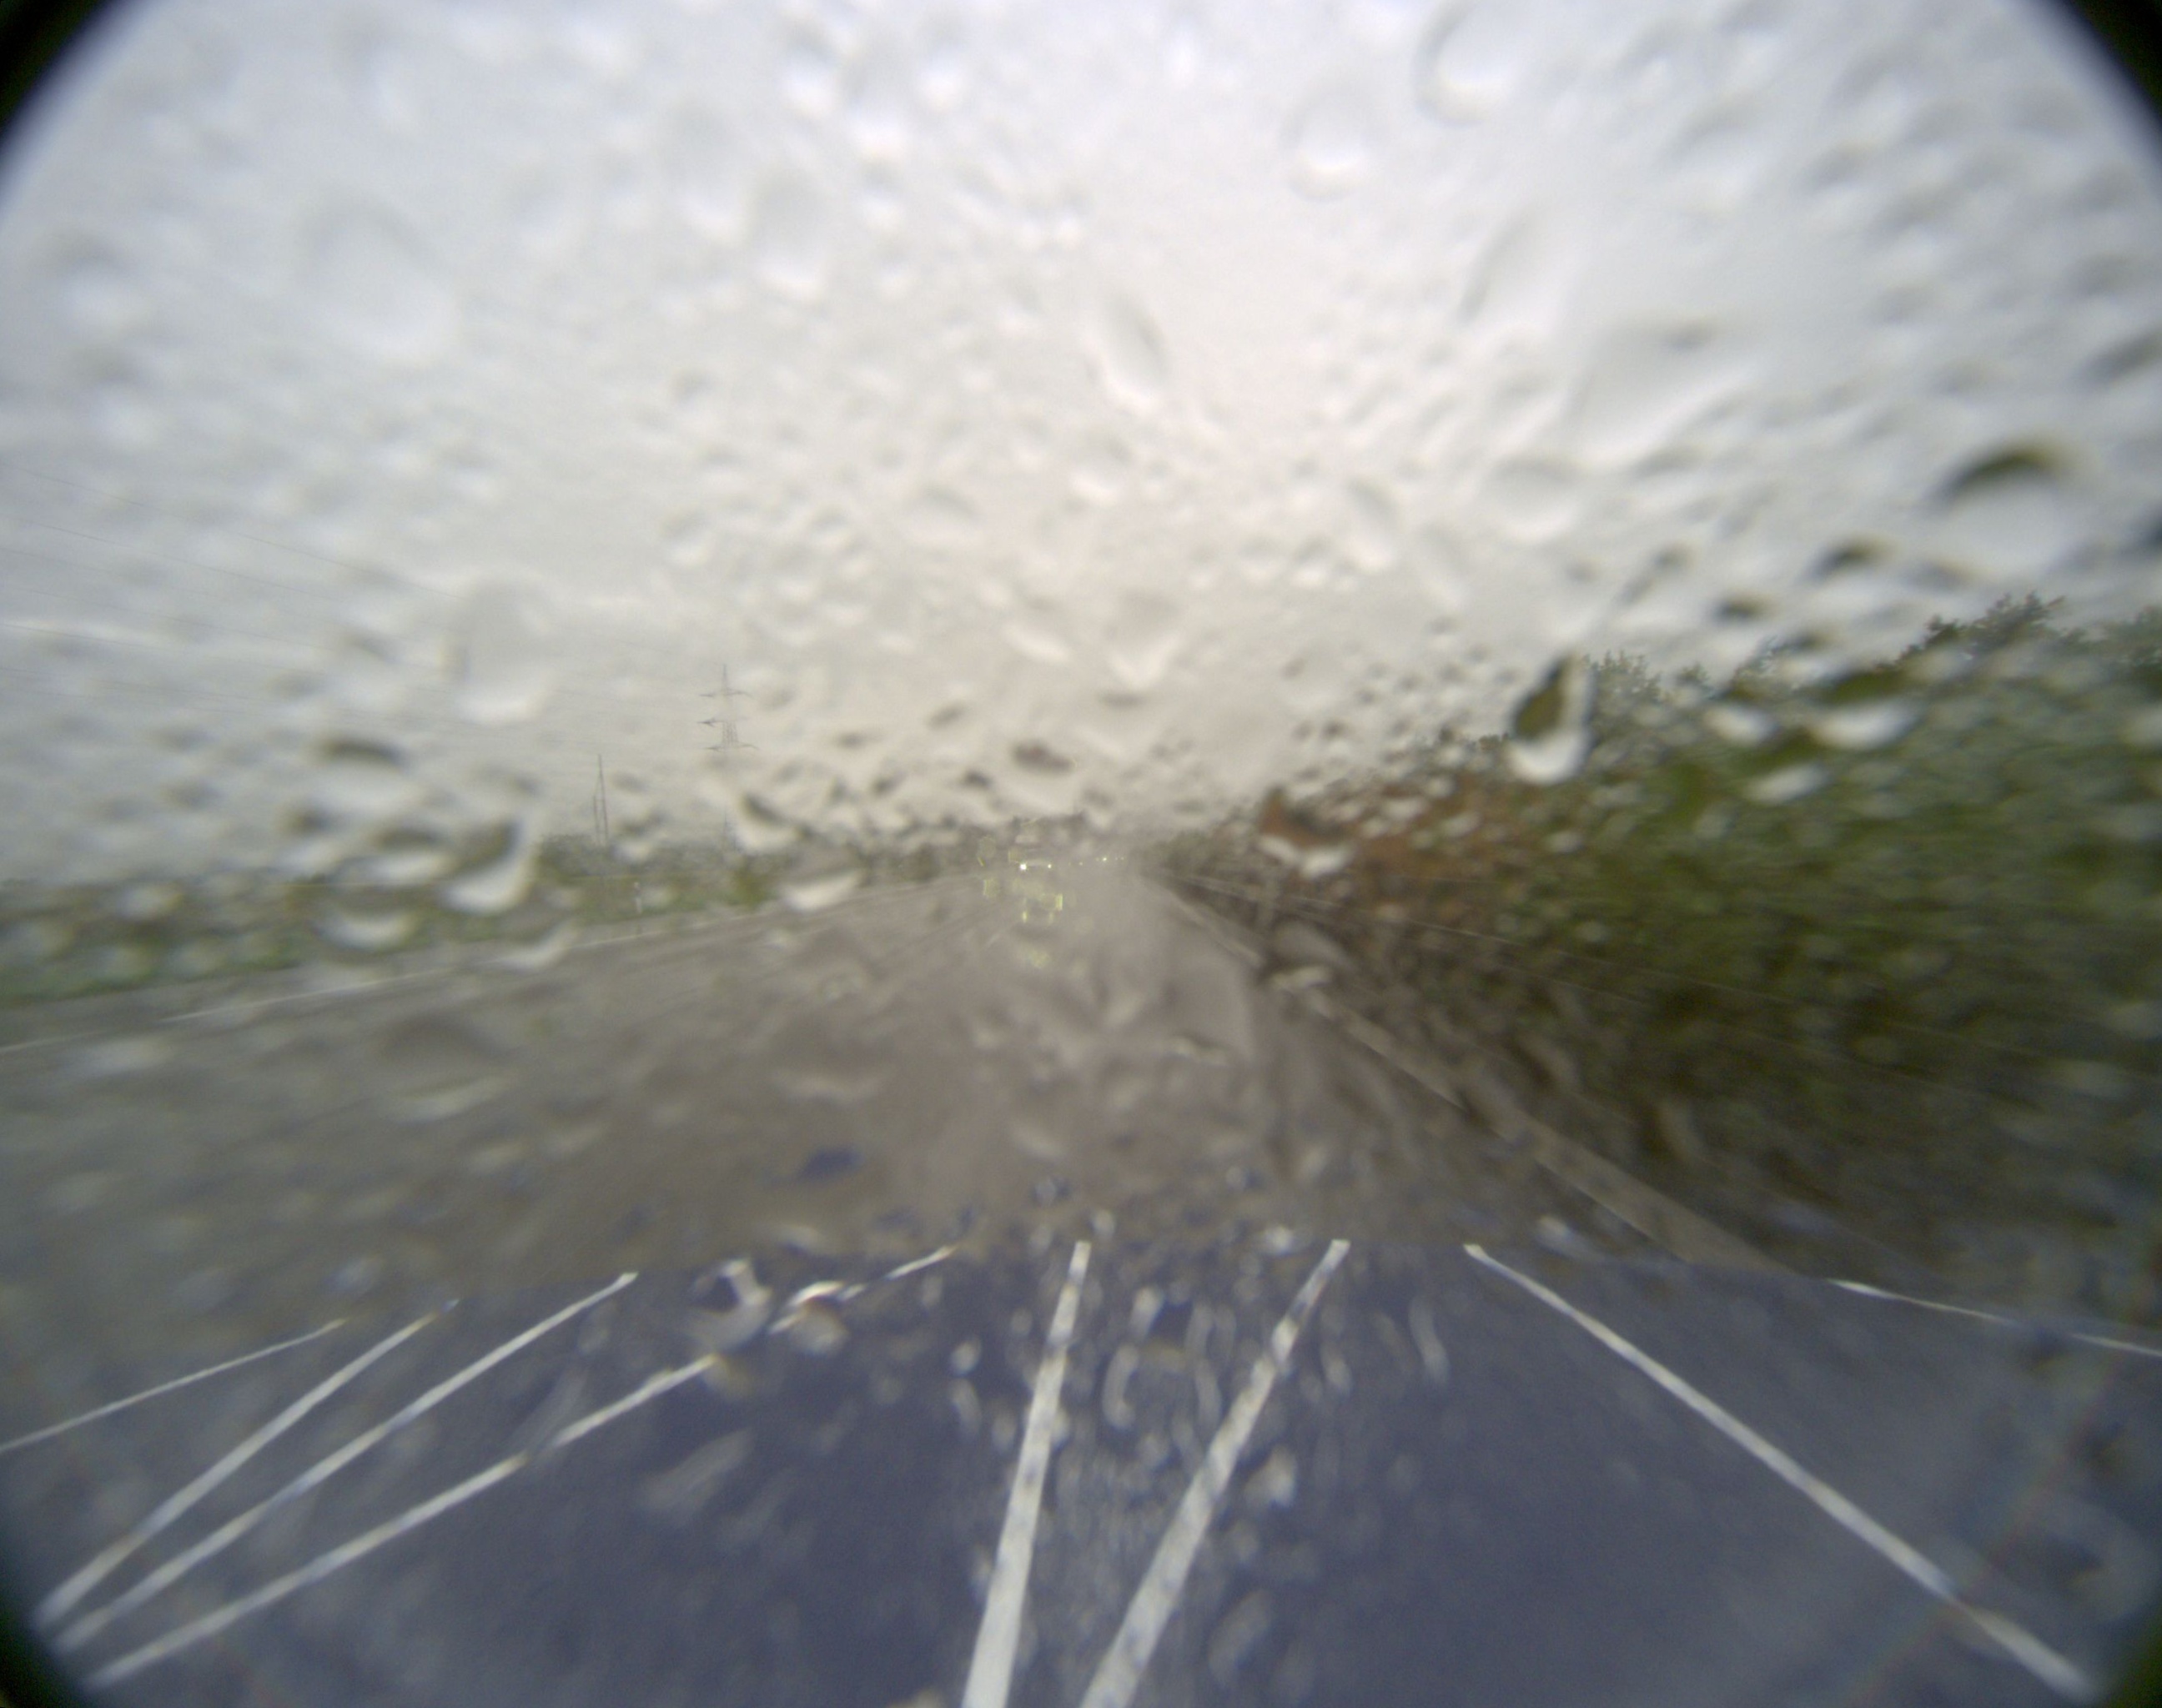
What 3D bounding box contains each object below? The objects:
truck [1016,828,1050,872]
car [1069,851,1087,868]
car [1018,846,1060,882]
[{"bbox_3d":[-5.423,-0.459,88.253,3.136,4.642,11.402,-2,1,0],"label":"truck"},{"bbox_3d":[-0.352,0.650,95.765,1.998,2.002,4.001,-2,1,5],"label":"car"},{"bbox_3d":[-2.457,0.560,45.540,1.998,2.002,4.000,-3,0,3],"label":"car"}]
